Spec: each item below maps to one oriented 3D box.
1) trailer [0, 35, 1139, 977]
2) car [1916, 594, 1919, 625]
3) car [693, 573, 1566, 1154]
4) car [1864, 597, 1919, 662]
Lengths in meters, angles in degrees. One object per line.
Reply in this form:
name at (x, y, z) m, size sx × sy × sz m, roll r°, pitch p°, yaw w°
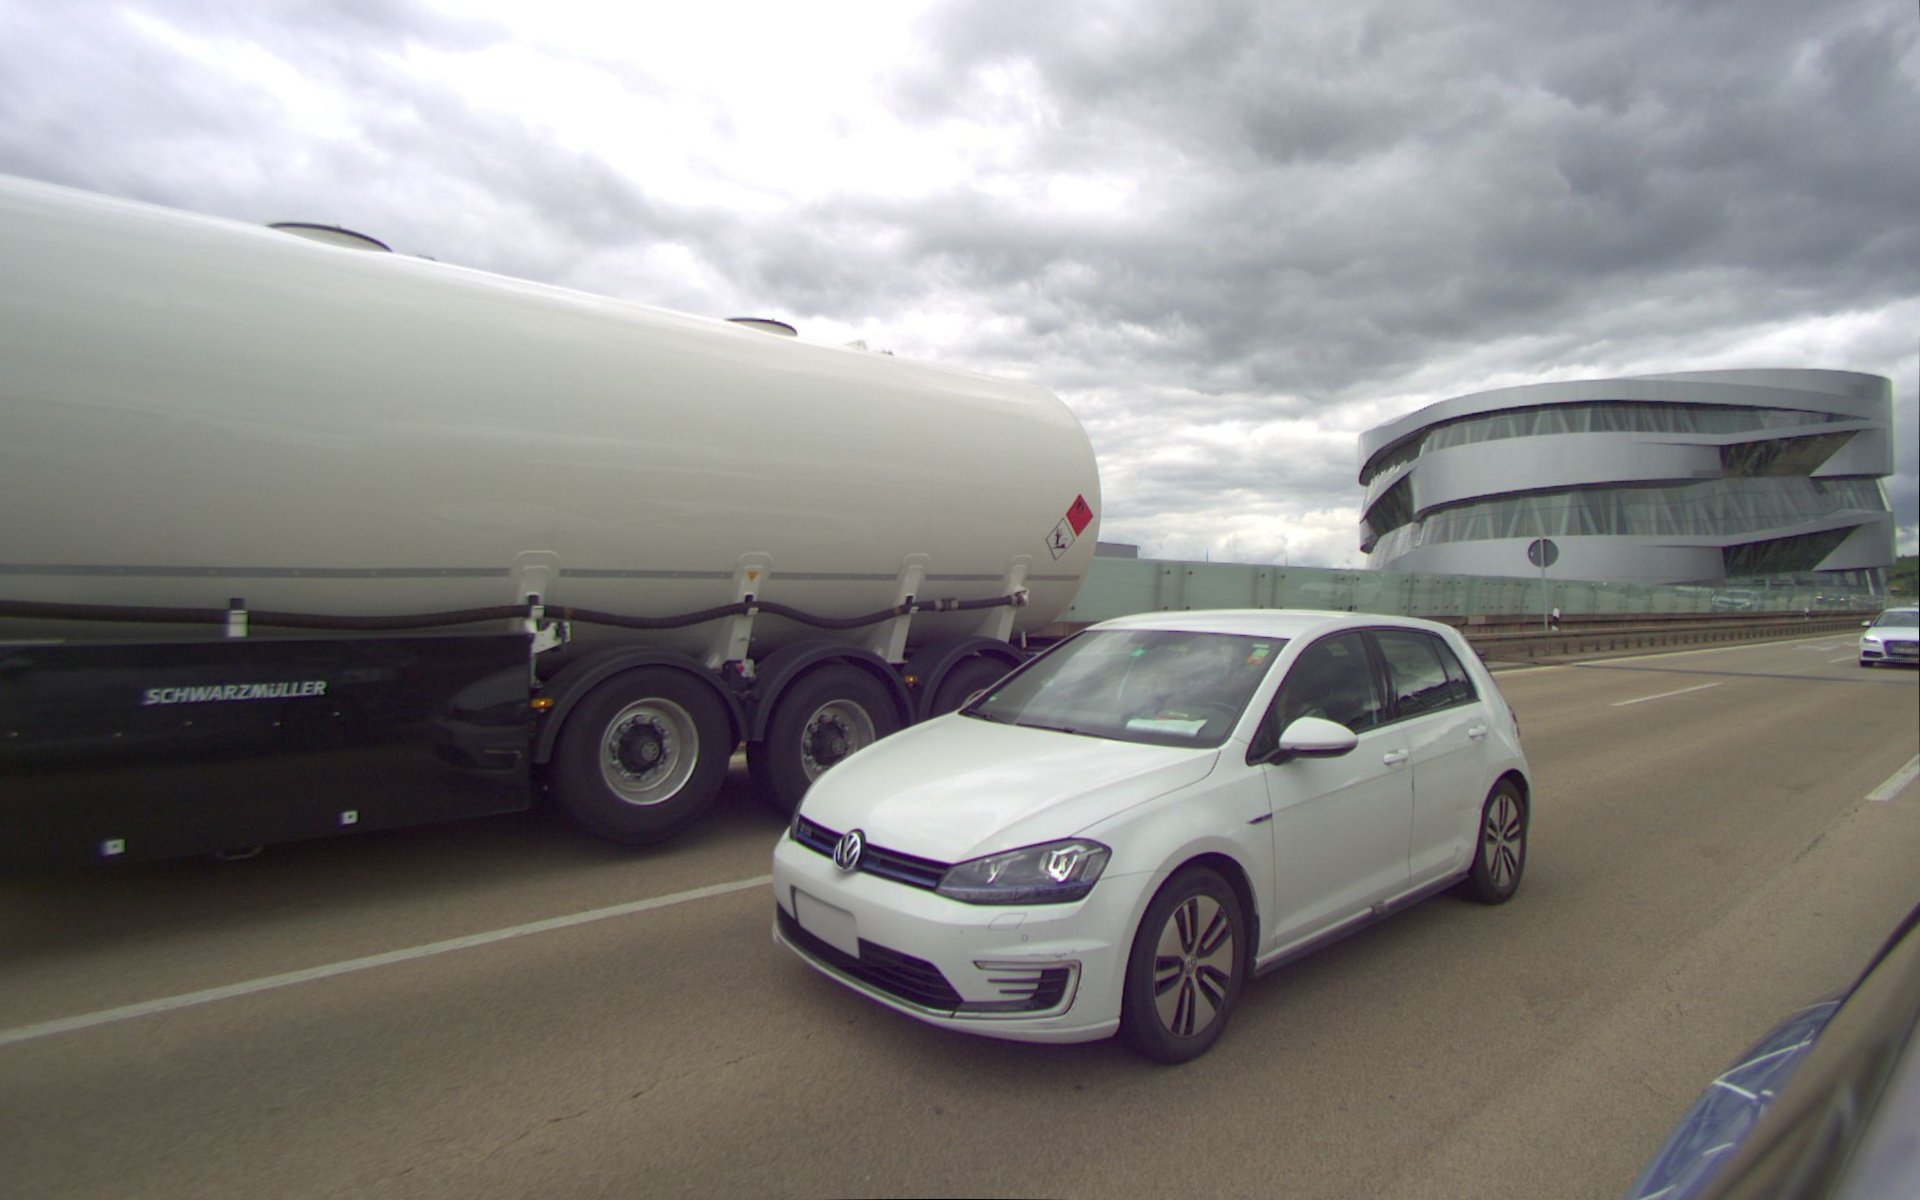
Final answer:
trailer at (-3.564, -0.373, 5.686) m, size 11.023 × 3.588 × 2.655 m, roll 0°, pitch 0°, yaw -41°
car at (52.984, 0.490, 54.485) m, size 3.563 × 1.654 × 1.784 m, roll 0°, pitch 0°, yaw -40°
car at (1.049, 0.657, 4.557) m, size 4.001 × 1.470 × 1.757 m, roll 0°, pitch 1°, yaw -42°
car at (23.241, 0.677, 24.155) m, size 3.861 × 1.470 × 1.848 m, roll 0°, pitch 0°, yaw -38°
